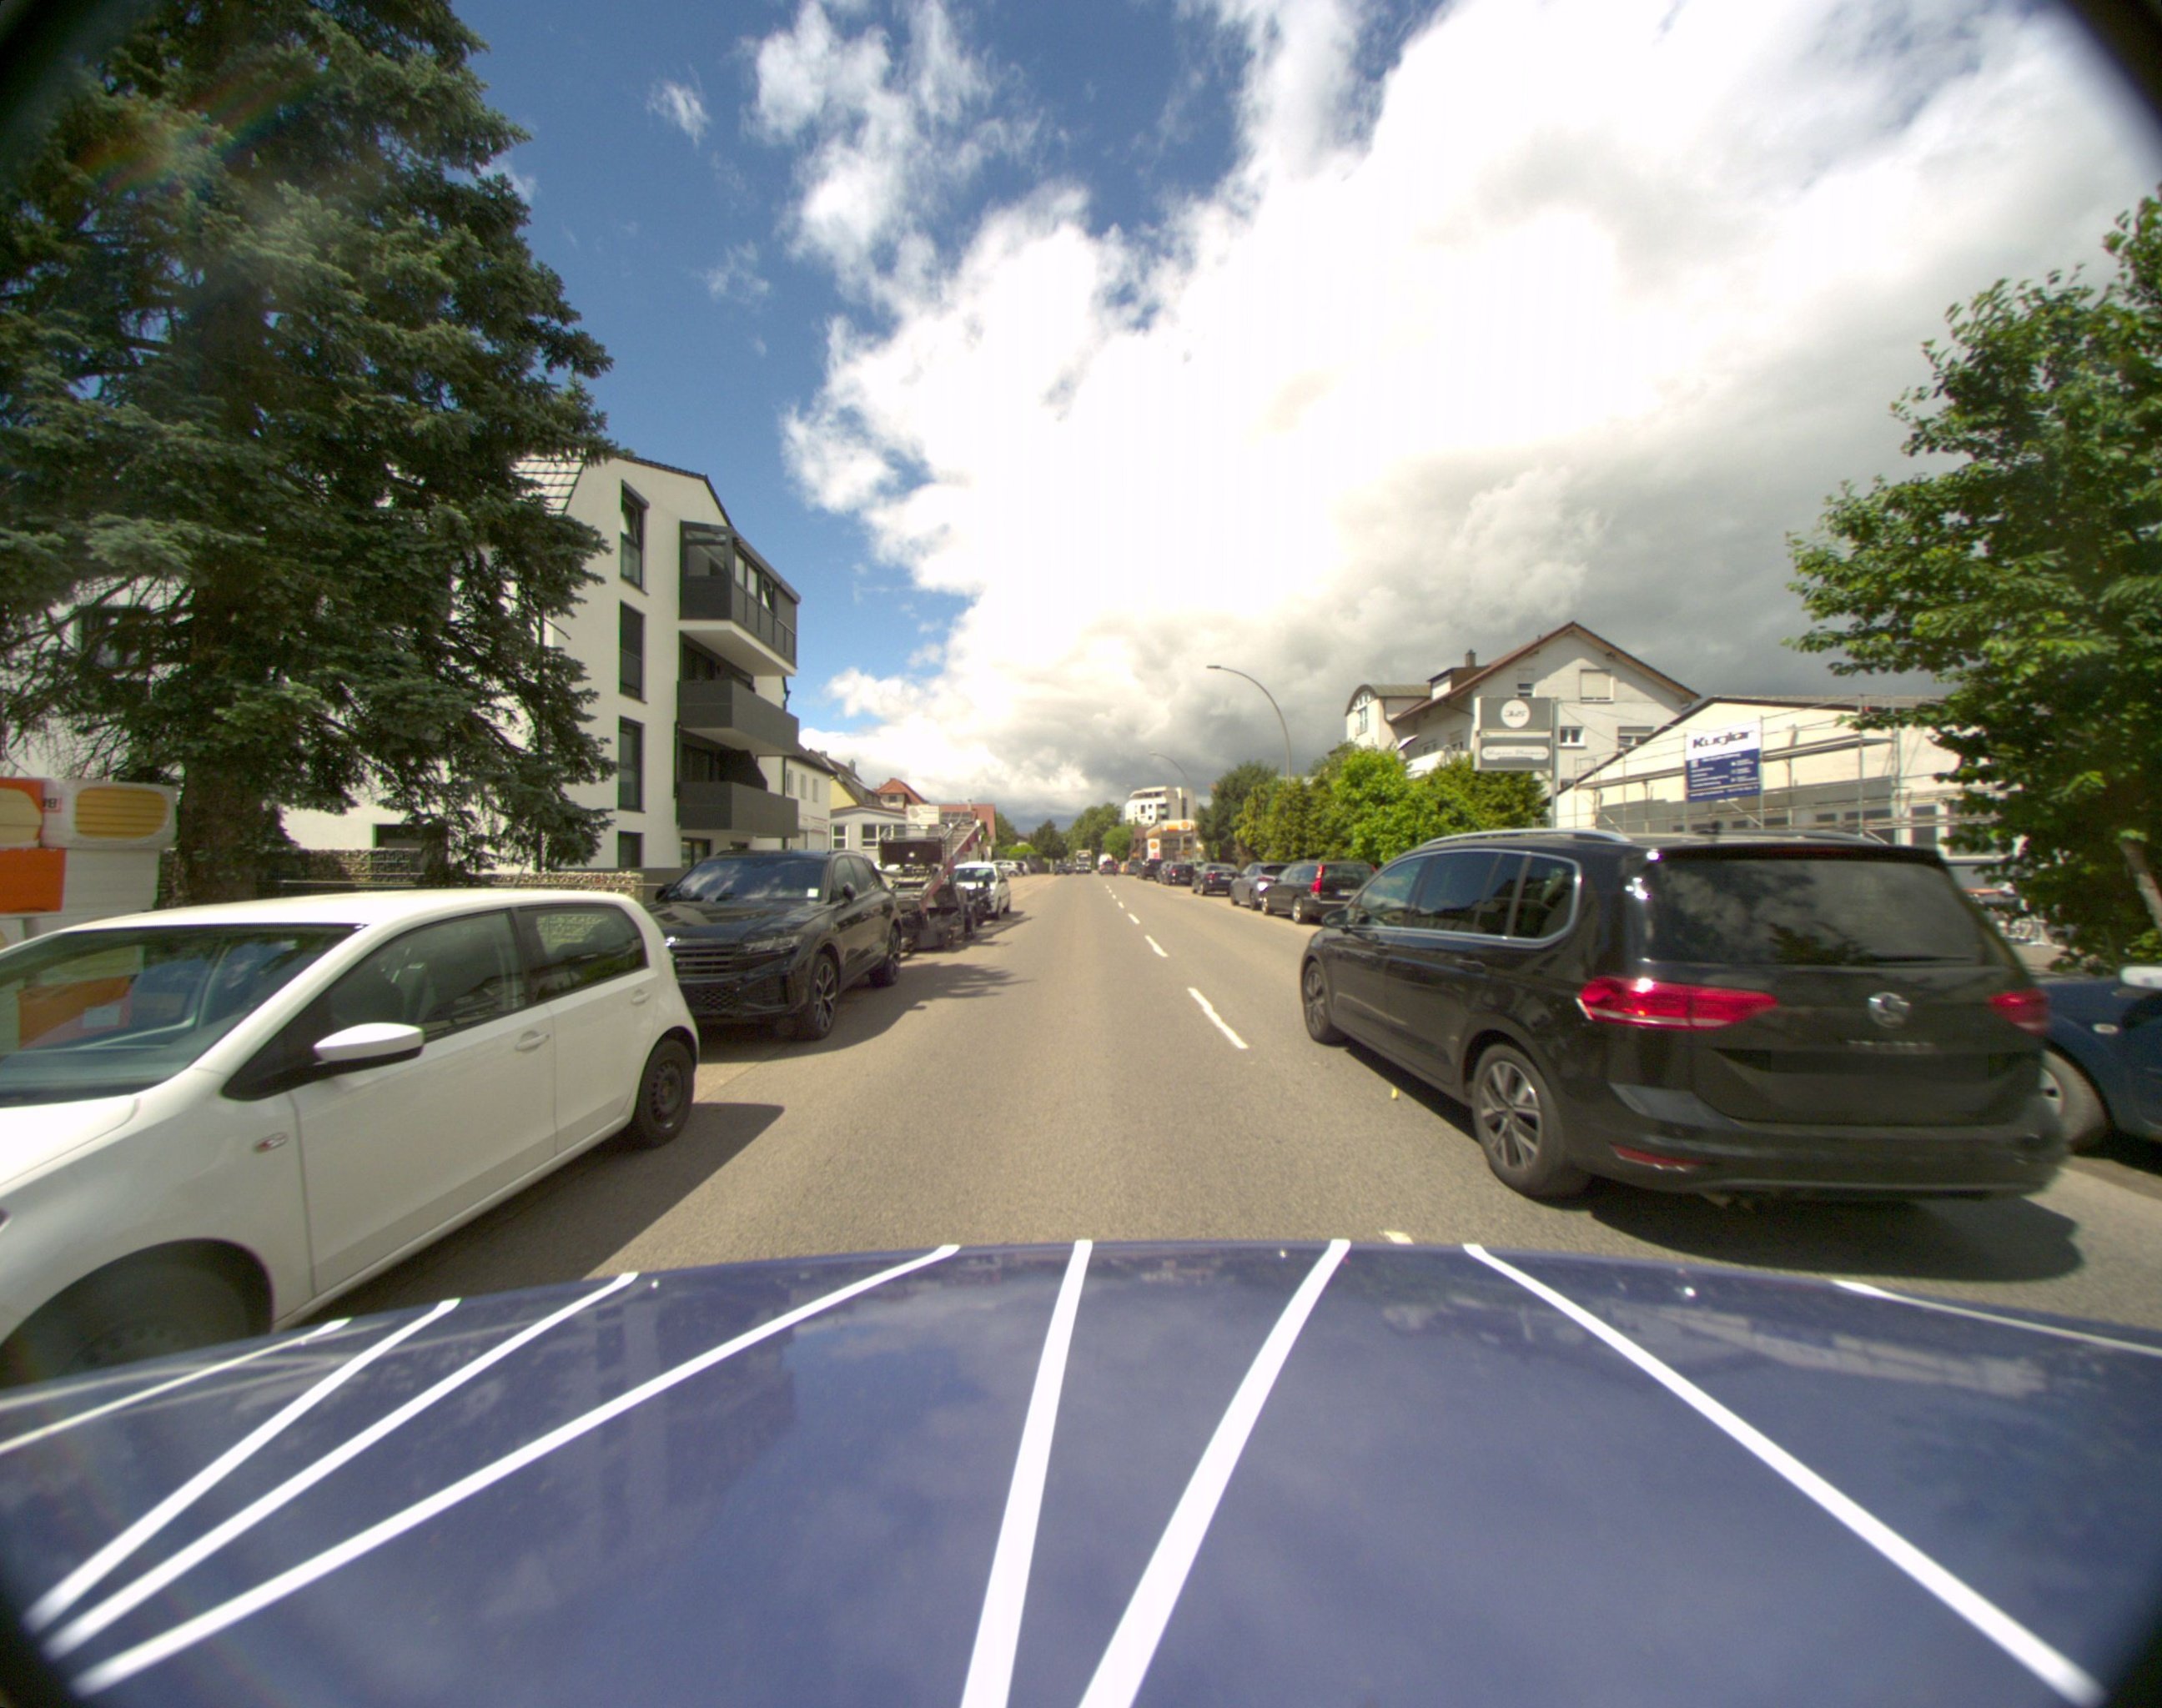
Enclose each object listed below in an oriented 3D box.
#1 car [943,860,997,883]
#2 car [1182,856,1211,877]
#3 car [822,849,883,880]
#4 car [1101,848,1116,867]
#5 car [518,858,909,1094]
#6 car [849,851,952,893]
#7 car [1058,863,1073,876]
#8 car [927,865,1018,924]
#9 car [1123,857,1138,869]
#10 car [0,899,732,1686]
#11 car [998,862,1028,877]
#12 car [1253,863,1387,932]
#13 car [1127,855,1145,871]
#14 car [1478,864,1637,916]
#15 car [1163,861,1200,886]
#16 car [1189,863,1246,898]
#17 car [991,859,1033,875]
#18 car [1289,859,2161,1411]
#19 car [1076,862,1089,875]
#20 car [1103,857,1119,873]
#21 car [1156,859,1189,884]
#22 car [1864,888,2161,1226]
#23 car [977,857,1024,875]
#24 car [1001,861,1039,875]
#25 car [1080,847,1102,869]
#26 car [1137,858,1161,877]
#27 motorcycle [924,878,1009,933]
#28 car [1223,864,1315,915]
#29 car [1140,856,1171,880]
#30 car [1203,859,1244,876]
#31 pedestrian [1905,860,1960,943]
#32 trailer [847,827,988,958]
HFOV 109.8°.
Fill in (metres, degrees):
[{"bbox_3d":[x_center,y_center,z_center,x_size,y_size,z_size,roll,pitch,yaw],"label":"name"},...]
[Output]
[{"bbox_3d":[-8.542,1.367,58.886,3.909,1.599,1.749,-2,0,-1],"label":"car"},{"bbox_3d":[10.355,1.085,68.291,1.797,1.775,4.338,-1,-1,-1],"label":"car"},{"bbox_3d":[-12.024,0.603,40.248,1.634,1.509,3.668,3,-2,8],"label":"car"},{"bbox_3d":[3.968,0.505,111.436,1.997,2.749,6.164,1,-1,0],"label":"car"},{"bbox_3d":[-3.211,0.915,7.910,1.878,1.717,4.712,0,0,-1],"label":"car"},{"bbox_3d":[-8.208,0.807,34.881,4.202,1.644,1.867,3,0,0],"label":"car"},{"bbox_3d":[-2.034,2.021,100.594,1.789,1.548,4.317,-2,0,1],"label":"car"},{"bbox_3d":[-2.863,1.032,20.907,1.723,1.423,3.984,1,-1,3],"label":"car"},{"bbox_3d":[6.451,1.187,99.712,1.666,1.505,3.946,3,-1,1],"label":"car"},{"bbox_3d":[-3.175,1.024,2.957,1.777,1.499,4.000,0,0,0],"label":"car"},{"bbox_3d":[-7.076,1.603,79.157,2.896,1.516,1.974,2,-1,-3],"label":"car"},{"bbox_3d":[5.743,0.979,18.912,1.724,1.484,4.735,1,-1,-1],"label":"car"},{"bbox_3d":[6.384,1.072,89.048,1.733,1.727,4.190,3,-1,0],"label":"car"},{"bbox_3d":[14.988,1.082,23.998,3.987,1.379,1.897,2,0,40],"label":"car"},{"bbox_3d":[6.085,1.161,46.383,1.667,1.427,4.338,2,-1,0],"label":"car"},{"bbox_3d":[5.813,1.099,32.801,1.667,1.406,4.338,1,-1,0],"label":"car"},{"bbox_3d":[-7.502,1.383,83.168,4.419,1.516,1.974,2,-1,-3],"label":"car"},{"bbox_3d":[2.703,0.863,4.452,1.748,1.618,4.356,-1,-1,0],"label":"car"},{"bbox_3d":[0.258,2.100,111.455,1.891,1.708,4.000,1,0,0],"label":"car"},{"bbox_3d":[3.467,1.238,88.983,1.667,1.785,4.338,1,-1,-1],"label":"car"},{"bbox_3d":[6.152,1.163,51.490,1.667,1.502,3.945,2,-1,0],"label":"car"},{"bbox_3d":[5.725,0.965,2.715,1.644,1.478,4.000,3,-1,-1],"label":"car"},{"bbox_3d":[-7.926,1.200,74.825,4.419,1.599,1.974,2,-1,-3],"label":"car"},{"bbox_3d":[-7.290,1.678,91.088,4.419,1.398,1.974,2,-1,-3],"label":"car"},{"bbox_3d":[1.580,0.767,128.567,3.263,3.595,10.270,-2,-1,-1],"label":"car"},{"bbox_3d":[6.104,1.222,68.436,1.667,1.670,4.527,1,-1,0],"label":"car"},{"bbox_3d":[-2.677,1.187,17.835,1.826,1.202,0.715,0,0,-35],"label":"motorcycle"},{"bbox_3d":[5.730,1.043,23.704,1.724,1.423,4.199,1,-1,-1],"label":"car"},{"bbox_3d":[6.102,1.163,62.504,1.915,1.810,5.430,3,-1,0],"label":"car"},{"bbox_3d":[16.589,1.535,88.175,4.993,1.841,1.970,-1,0,-41],"label":"car"},{"bbox_3d":[17.148,0.946,15.308,0.524,1.638,0.497,1,0,0],"label":"pedestrian"},{"bbox_3d":[-2.905,0.649,14.398,1.777,2.132,4.114,0,0,0],"label":"trailer"}]
